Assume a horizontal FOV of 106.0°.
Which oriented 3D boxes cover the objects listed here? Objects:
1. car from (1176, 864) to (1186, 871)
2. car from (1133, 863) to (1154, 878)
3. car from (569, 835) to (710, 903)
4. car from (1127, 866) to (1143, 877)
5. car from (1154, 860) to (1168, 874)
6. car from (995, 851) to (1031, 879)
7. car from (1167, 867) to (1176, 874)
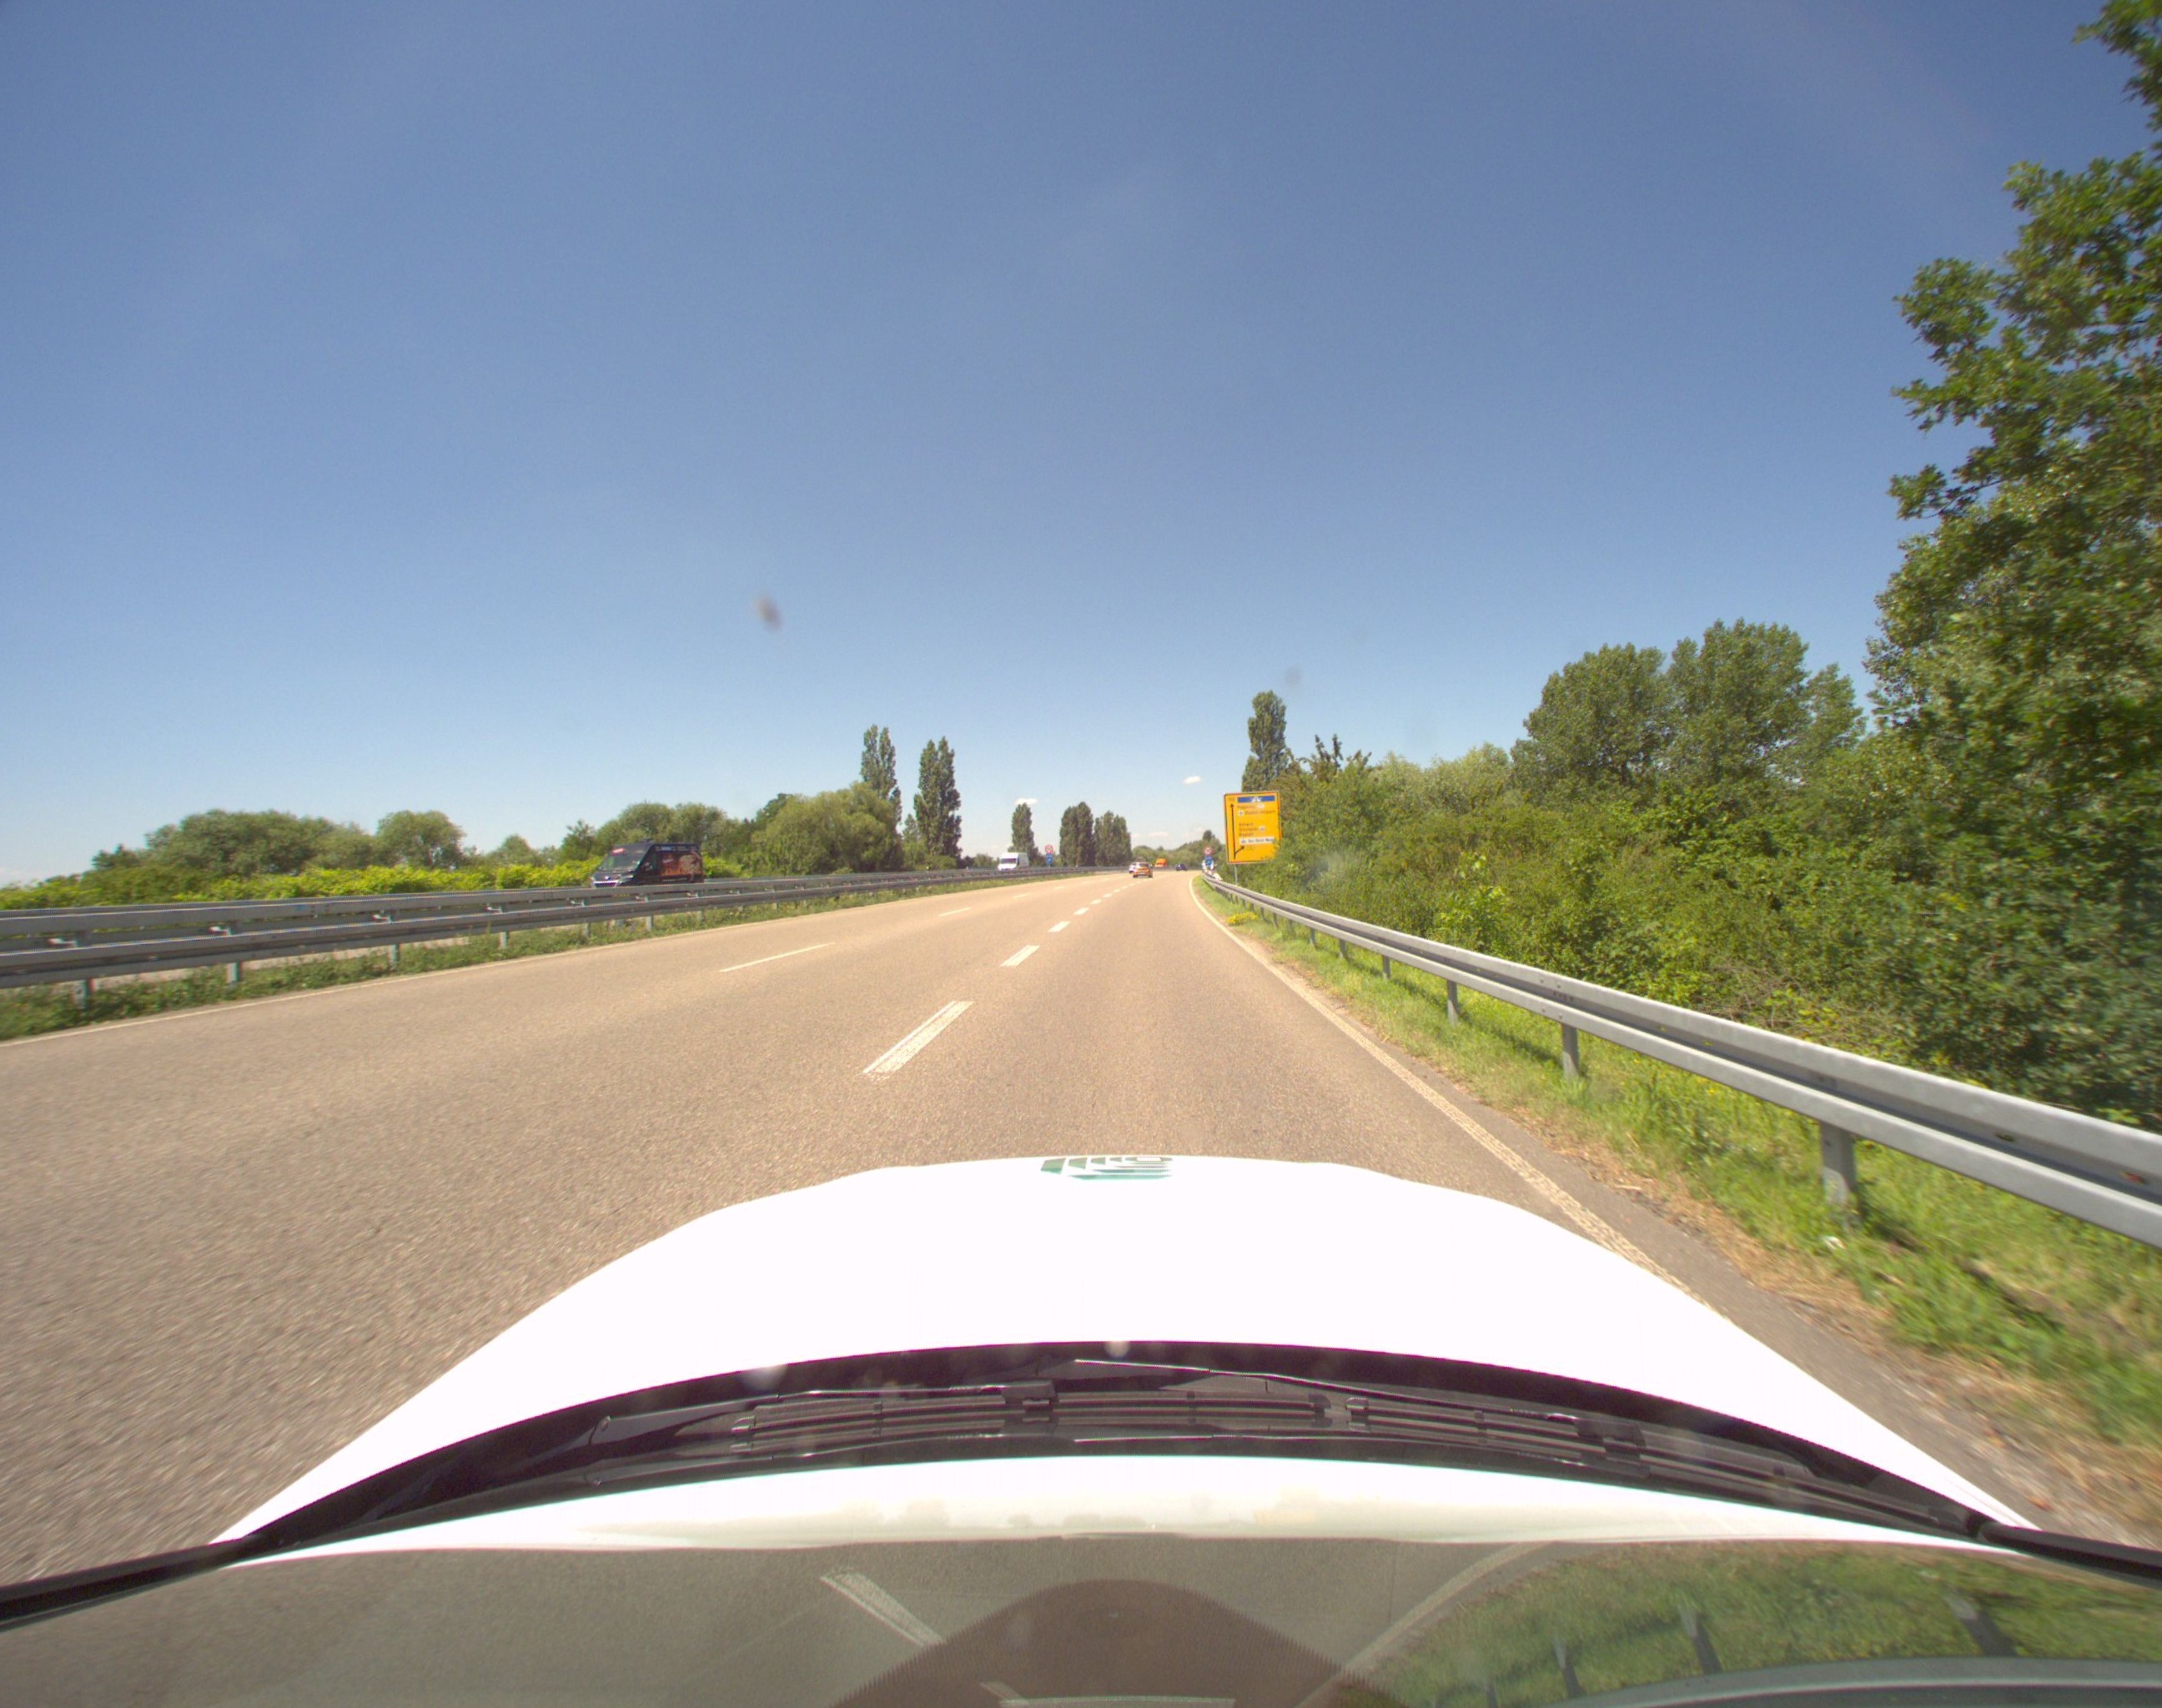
[{"bbox_3d":[20.189,2.765,164.638,1.932,1.464,4.009,0,-1,8],"label":"car"},{"bbox_3d":[6.077,1.579,78.996,1.831,1.464,4.009,0,-1,8],"label":"car"},{"bbox_3d":[-18.602,0.686,34.711,2.190,2.638,5.640,-1,-2,10],"label":"car"},{"bbox_3d":[7.236,2.343,109.246,1.830,1.451,4.010,0,-1,9],"label":"car"},{"bbox_3d":[19.879,3.303,202.106,2.289,3.292,7.052,-2,-1,13],"label":"car"},{"bbox_3d":[-7.181,1.274,87.076,2.266,2.774,7.237,-1,-2,8],"label":"car"},{"bbox_3d":[24.398,4.550,219.364,1.840,1.818,4.811,-2,-2,13],"label":"car"}]
